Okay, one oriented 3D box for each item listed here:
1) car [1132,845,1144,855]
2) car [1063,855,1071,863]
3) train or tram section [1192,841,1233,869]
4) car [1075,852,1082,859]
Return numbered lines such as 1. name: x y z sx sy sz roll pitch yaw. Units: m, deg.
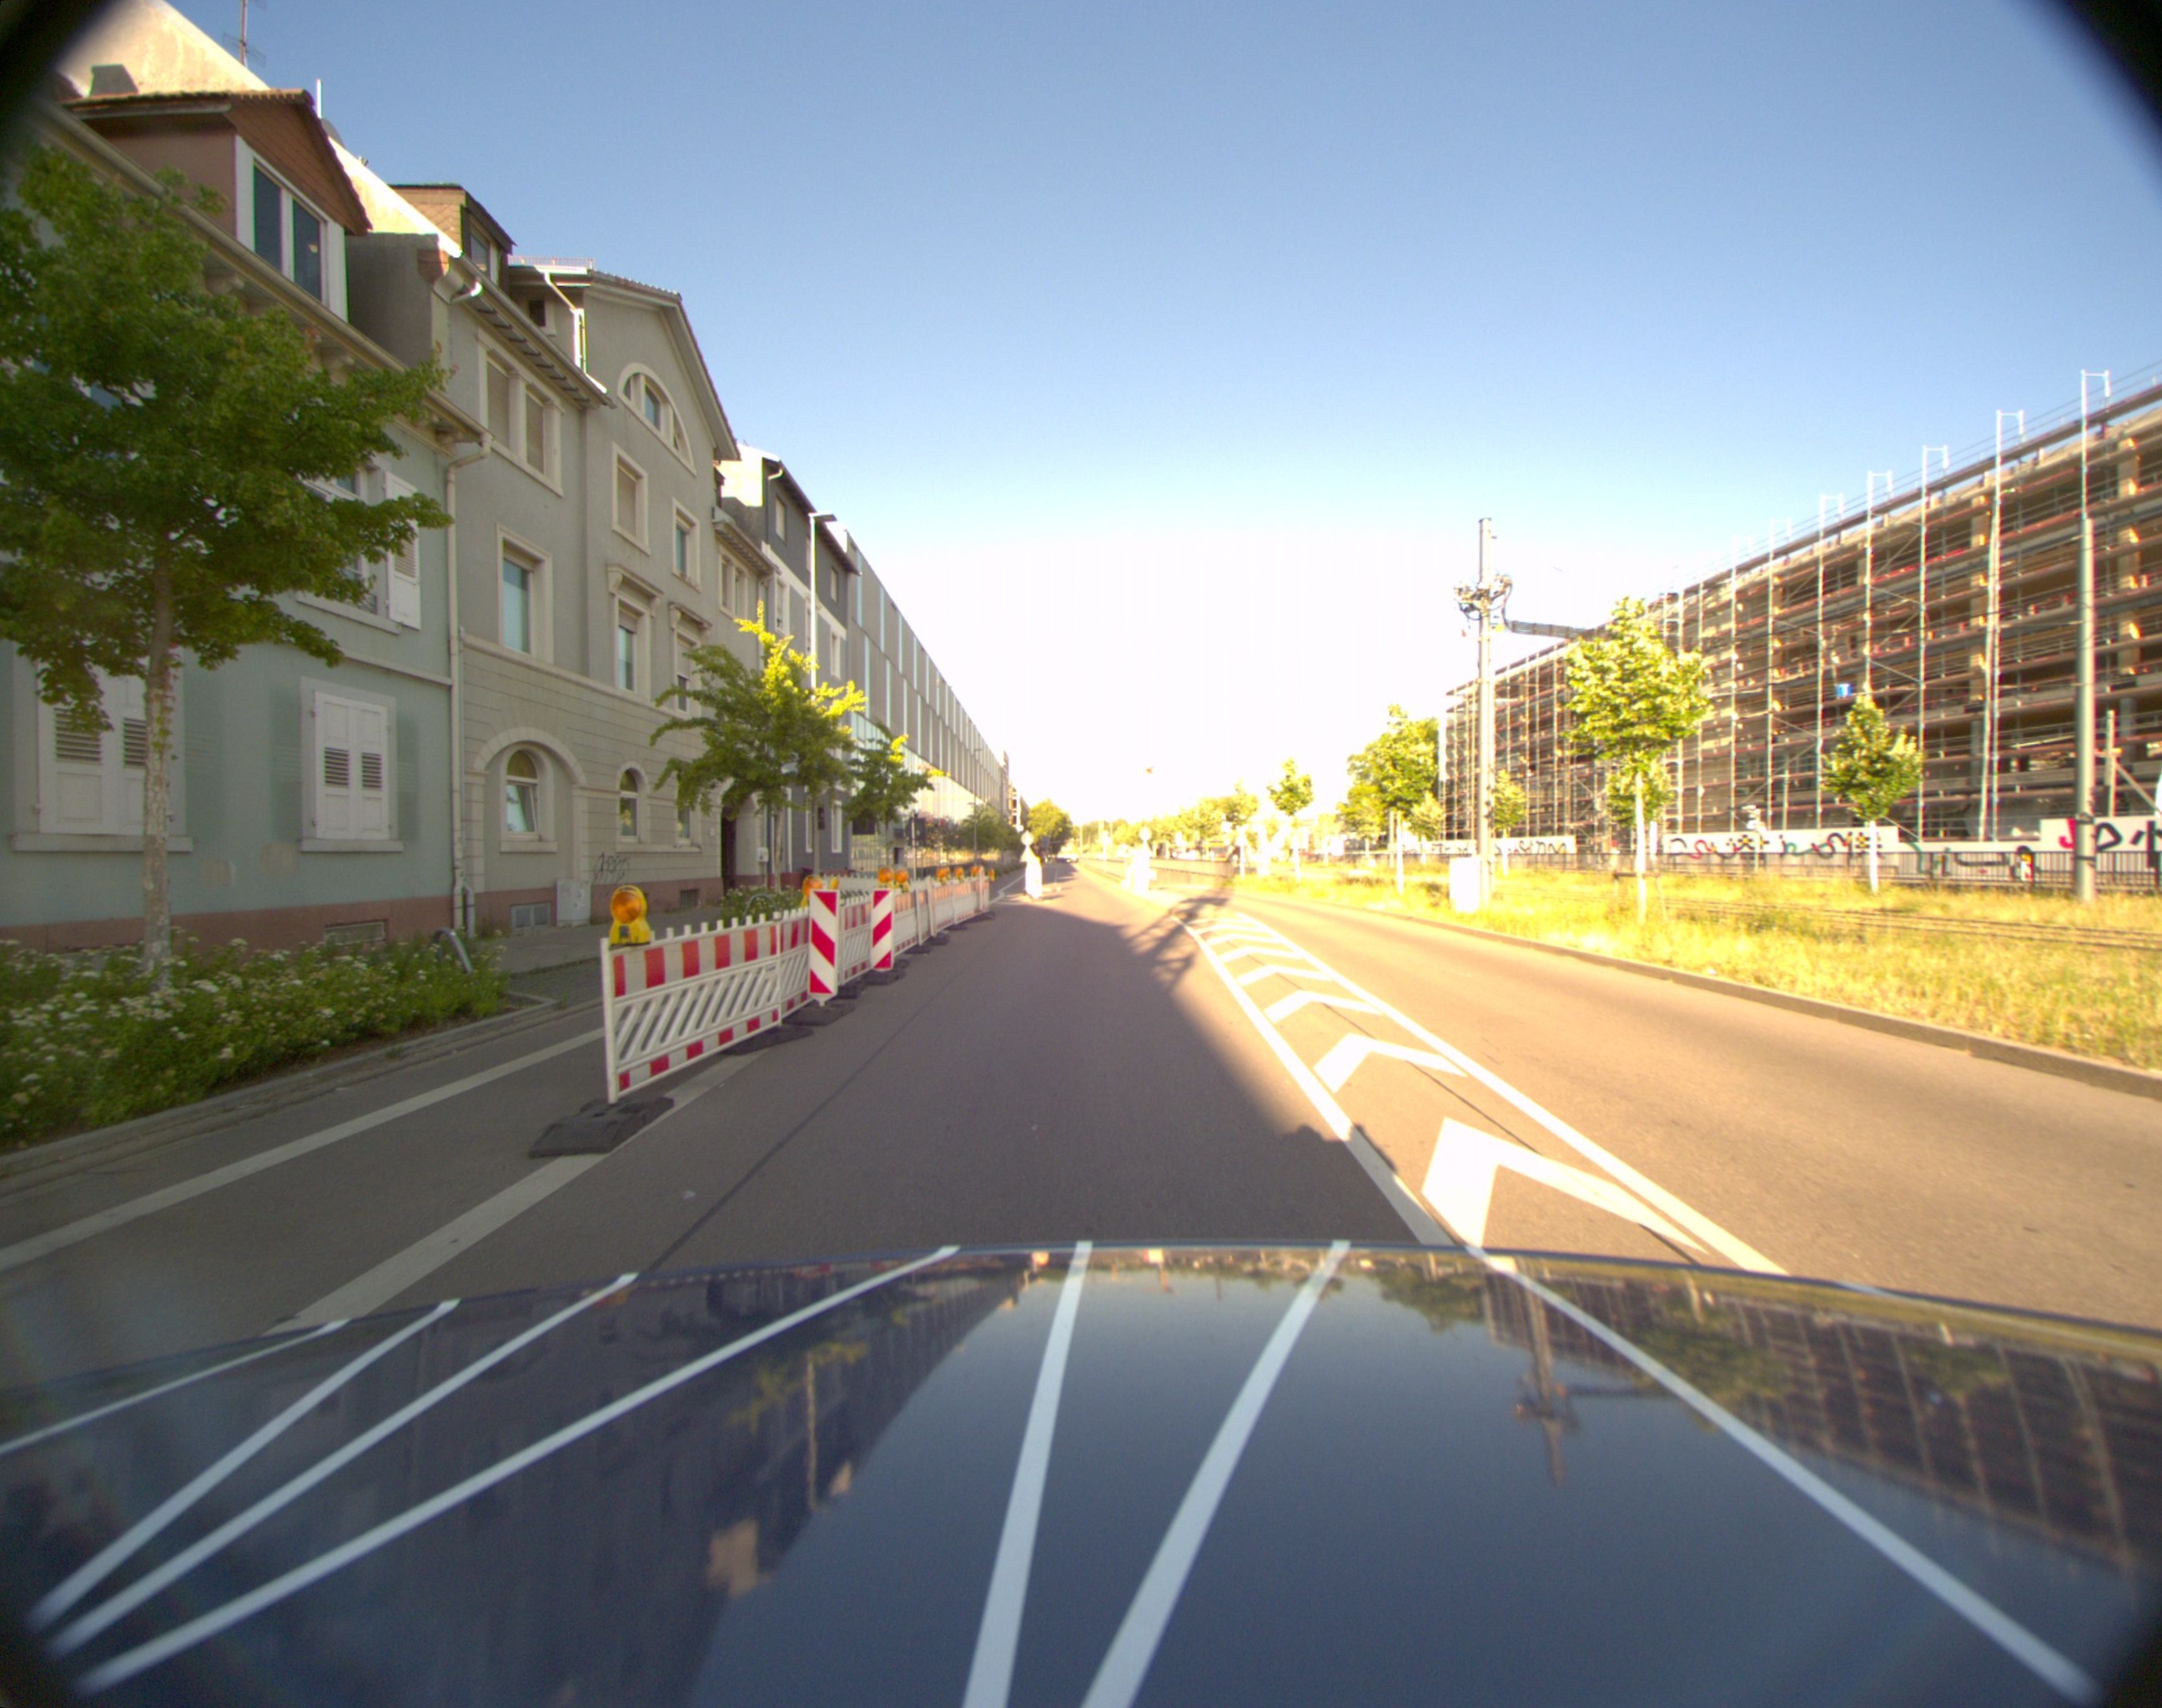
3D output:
1. car: 9.967 -0.688 133.139 1.998 1.740 4.000 -2 1 1
2. car: -3.484 1.328 193.841 1.941 2.002 3.826 -1 0 -3
3. train or tram section: 17.250 0.045 100.823 2.954 3.378 12.631 -2 0 -1
4. car: -0.846 0.404 223.004 1.941 2.002 3.826 -1 0 -3
